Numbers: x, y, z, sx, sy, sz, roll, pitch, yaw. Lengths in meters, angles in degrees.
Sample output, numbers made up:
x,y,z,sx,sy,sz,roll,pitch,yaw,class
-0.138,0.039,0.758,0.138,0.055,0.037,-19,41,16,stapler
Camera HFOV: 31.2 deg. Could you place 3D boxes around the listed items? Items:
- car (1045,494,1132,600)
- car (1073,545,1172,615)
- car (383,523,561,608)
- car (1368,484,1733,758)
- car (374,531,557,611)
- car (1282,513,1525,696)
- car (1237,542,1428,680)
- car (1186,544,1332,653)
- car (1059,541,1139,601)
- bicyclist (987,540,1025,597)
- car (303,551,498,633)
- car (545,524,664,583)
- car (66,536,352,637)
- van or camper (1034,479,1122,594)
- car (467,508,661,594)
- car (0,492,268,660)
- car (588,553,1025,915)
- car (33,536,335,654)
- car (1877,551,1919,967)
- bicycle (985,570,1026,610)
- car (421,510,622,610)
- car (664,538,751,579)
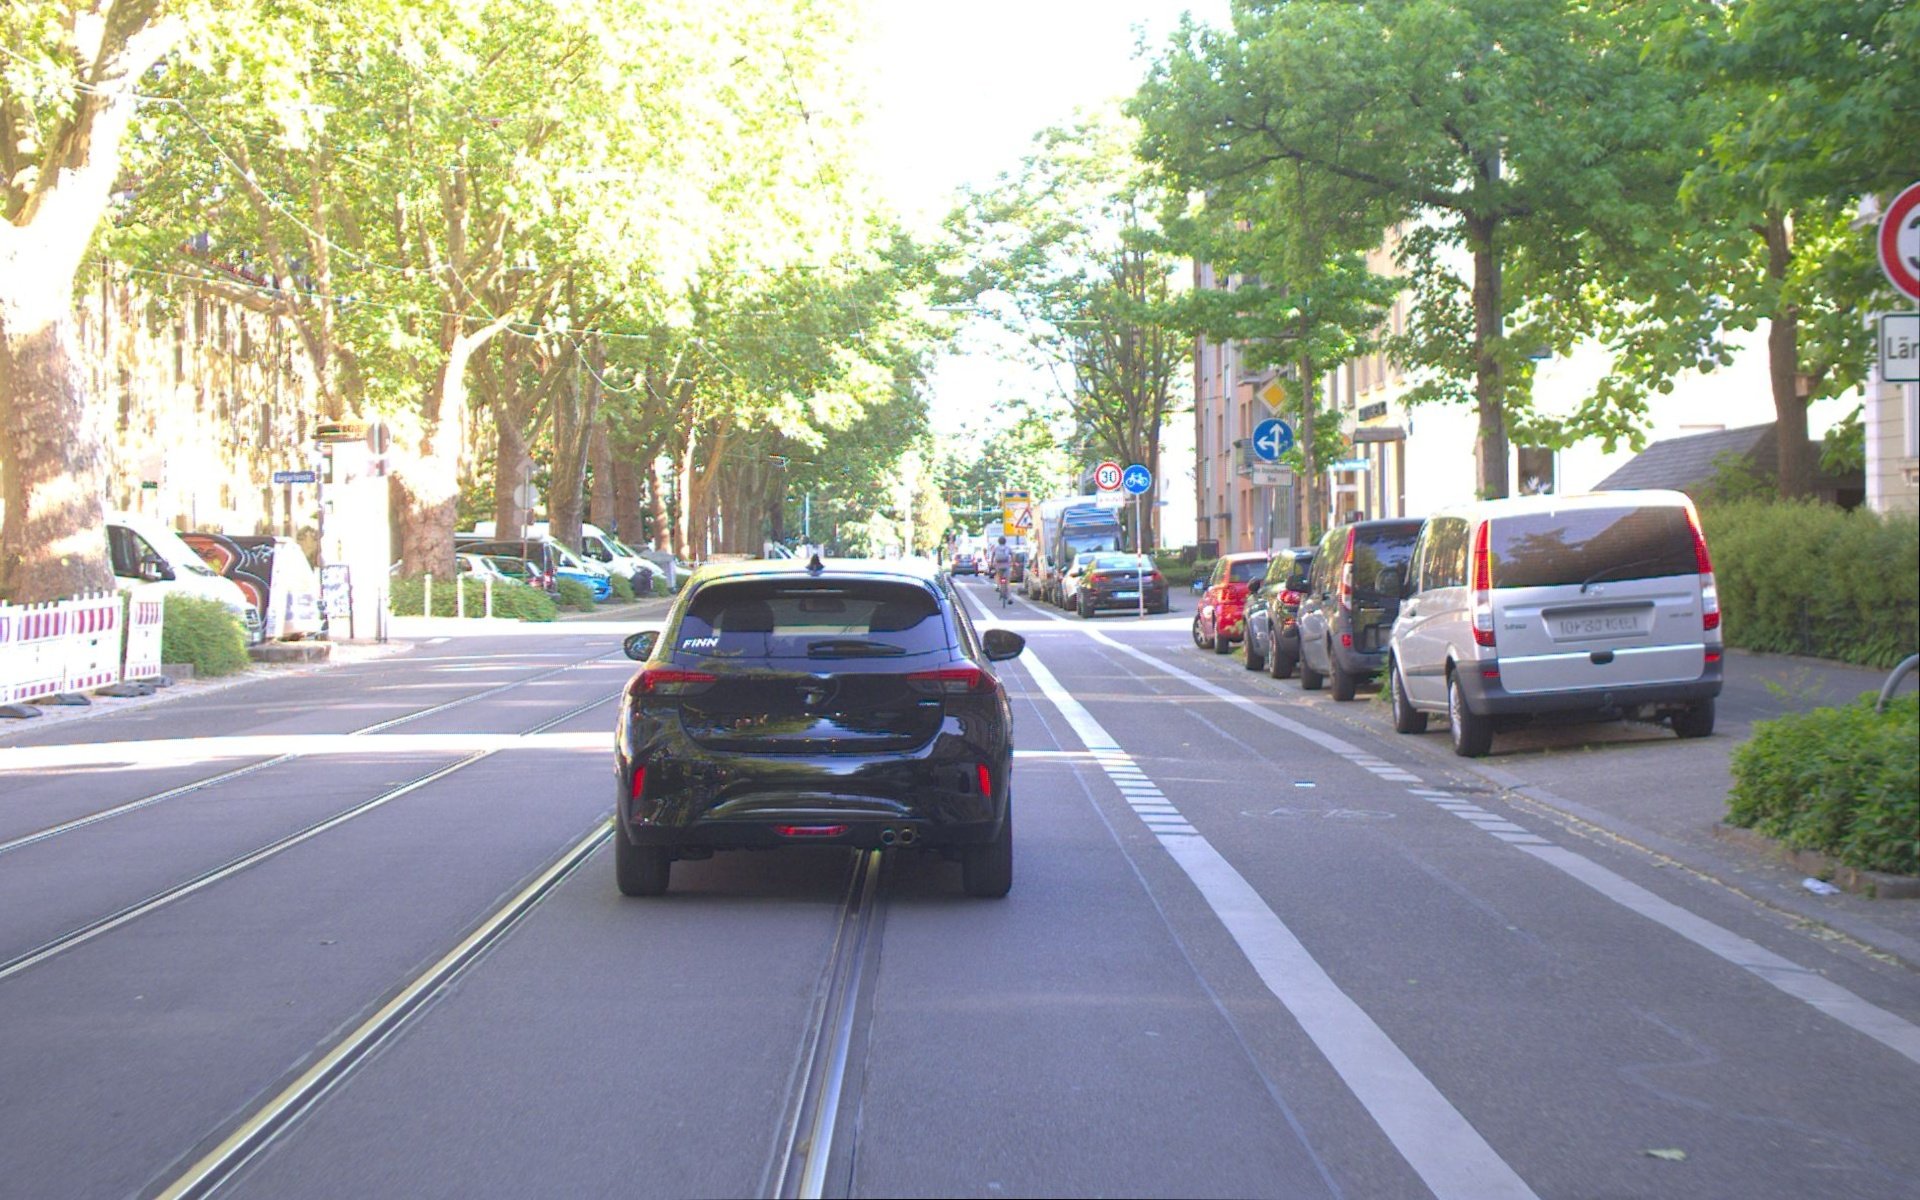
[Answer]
x,y,z,sx,sy,sz,roll,pitch,yaw,class
3.479,-1.478,93.874,2.085,2.762,4.698,-2,1,0,car
3.589,-0.469,76.496,1.884,1.429,4.530,-3,1,0,car
-12.280,-0.864,86.622,4.298,1.834,1.783,-4,1,-7,car
4.478,0.114,26.827,1.884,1.845,4.967,-3,1,0,car
-12.096,-0.719,84.294,4.298,1.669,1.783,-4,1,-7,car
4.538,0.009,35.835,1.885,1.760,4.678,-1,1,0,car
4.444,0.098,41.535,1.712,1.509,4.037,-3,1,-1,car
4.353,-0.051,50.548,1.702,1.418,3.978,-4,1,0,car
3.476,-0.711,86.680,1.803,1.429,4.000,-2,0,0,car
1.203,-0.824,90.604,0.958,1.494,1.094,0,1,-2,bicyclist
-12.887,-0.189,79.445,4.298,1.588,1.783,-4,1,-7,car
-12.365,-1.600,119.386,3.986,2.007,2.001,0,1,-9,car
-12.200,-0.231,56.032,4.299,1.601,1.926,0,1,-3,car
3.412,-1.850,100.435,2.254,3.205,5.531,-2,1,0,van or camper
-12.181,-1.522,106.028,5.639,2.584,2.196,0,1,4,car
-12.258,-0.350,47.491,5.032,2.251,2.086,0,1,-3,car
-0.629,0.517,15.923,1.763,1.455,3.950,0,1,0,car
-12.011,-0.094,53.399,4.299,1.795,1.926,0,1,-3,car
4.538,0.584,11.180,1.884,1.562,4.242,-3,1,0,car
1.203,-0.271,90.632,0.968,0.995,2.583,0,1,-2,bicycle
-11.868,-1.093,93.315,5.036,2.366,2.081,-4,1,0,car
-12.381,-2.044,168.713,3.988,2.007,2.000,1,1,6,car
